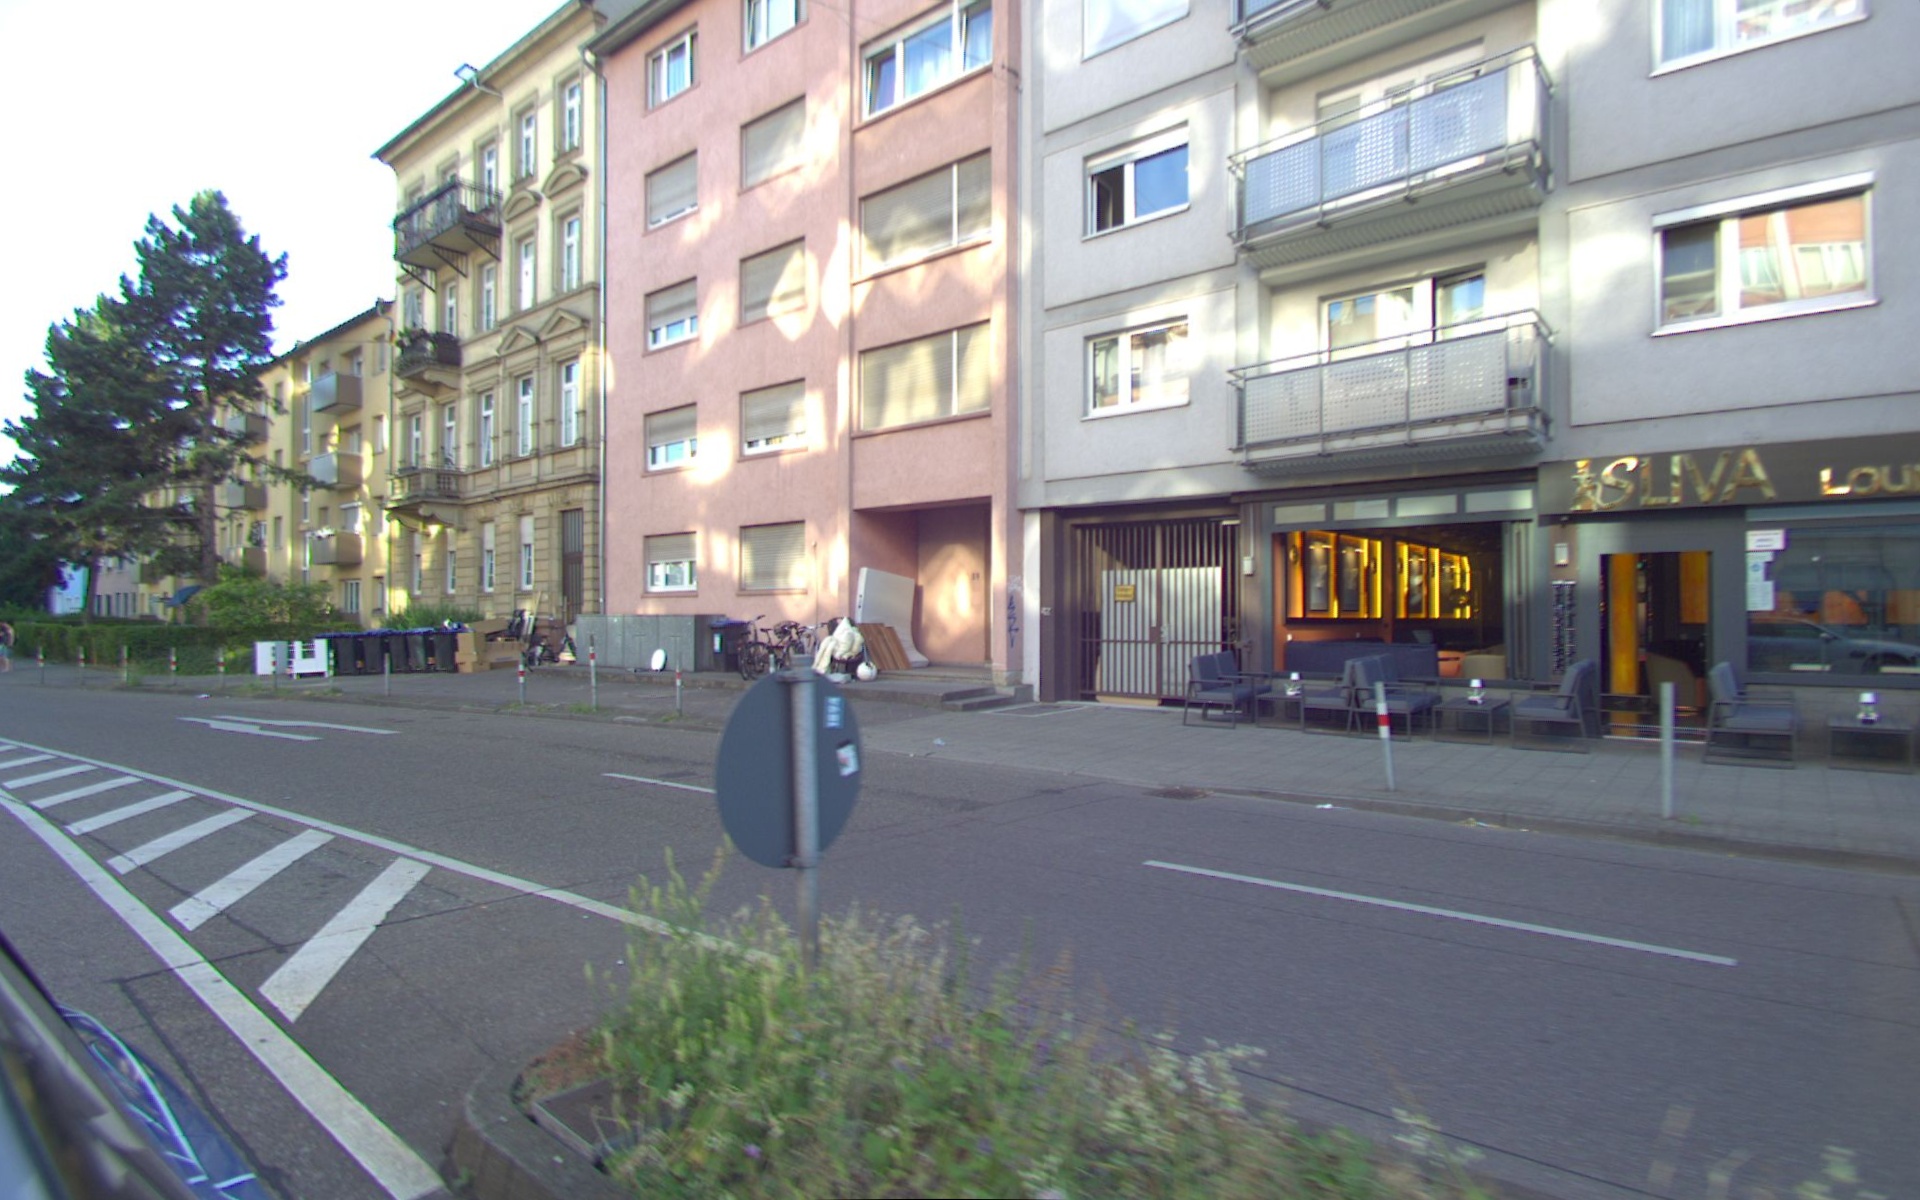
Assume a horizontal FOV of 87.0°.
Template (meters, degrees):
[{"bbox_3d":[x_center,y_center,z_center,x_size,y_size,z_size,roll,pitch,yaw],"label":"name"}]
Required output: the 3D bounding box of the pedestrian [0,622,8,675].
[{"bbox_3d":[-30.345,1.527,31.763,0.723,1.665,0.476,-1,-3,34],"label":"pedestrian"}]

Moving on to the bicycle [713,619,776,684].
[{"bbox_3d":[-4.151,0.976,19.591,0.491,1.169,1.667,-1,0,14],"label":"bicycle"}]

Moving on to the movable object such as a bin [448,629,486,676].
[{"bbox_3d":[-12.233,1.290,25.129,0.577,1.119,0.640,-1,1,10],"label":"movable object such as a bin"}]

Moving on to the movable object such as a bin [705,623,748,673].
[{"bbox_3d":[-4.900,0.996,21.260,0.588,1.039,0.668,-1,-2,40],"label":"movable object such as a bin"}]

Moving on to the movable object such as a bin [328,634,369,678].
[{"bbox_3d":[-15.456,1.412,25.595,0.620,1.076,0.640,-1,1,10],"label":"movable object such as a bin"}]

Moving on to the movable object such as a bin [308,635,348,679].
[{"bbox_3d":[-16.095,1.443,25.768,0.577,1.091,0.640,-1,1,10],"label":"movable object such as a bin"}]

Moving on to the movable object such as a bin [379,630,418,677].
[{"bbox_3d":[-14.106,1.339,25.419,0.577,1.119,0.640,-1,1,10],"label":"movable object such as a bin"}]

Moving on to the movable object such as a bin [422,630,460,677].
[{"bbox_3d":[-12.891,1.311,25.142,0.577,1.119,0.640,-1,1,10],"label":"movable object such as a bin"}]

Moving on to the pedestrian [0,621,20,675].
[{"bbox_3d":[-29.688,1.485,31.414,0.695,1.664,0.599,-1,-2,34],"label":"pedestrian"}]

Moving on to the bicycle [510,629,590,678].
[{"bbox_3d":[-9.927,1.274,24.533,0.661,0.974,1.633,-1,4,38],"label":"bicycle"}]

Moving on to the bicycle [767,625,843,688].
[{"bbox_3d":[-2.823,1.014,18.630,0.546,1.048,1.661,-1,0,25],"label":"bicycle"}]

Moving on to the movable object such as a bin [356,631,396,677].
[{"bbox_3d":[-14.737,1.359,25.540,0.577,1.119,0.640,-1,1,10],"label":"movable object such as a bin"}]

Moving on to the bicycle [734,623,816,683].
[{"bbox_3d":[-3.477,0.977,19.140,0.548,1.048,1.656,-1,0,33],"label":"bicycle"}]

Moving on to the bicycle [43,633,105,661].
[{"bbox_3d":[-34.227,1.817,39.131,0.589,0.989,1.740,-1,-1,41],"label":"bicycle"}]

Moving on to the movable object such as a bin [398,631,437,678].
[{"bbox_3d":[-13.491,1.347,25.166,0.577,1.119,0.640,-1,1,10],"label":"movable object such as a bin"}]
